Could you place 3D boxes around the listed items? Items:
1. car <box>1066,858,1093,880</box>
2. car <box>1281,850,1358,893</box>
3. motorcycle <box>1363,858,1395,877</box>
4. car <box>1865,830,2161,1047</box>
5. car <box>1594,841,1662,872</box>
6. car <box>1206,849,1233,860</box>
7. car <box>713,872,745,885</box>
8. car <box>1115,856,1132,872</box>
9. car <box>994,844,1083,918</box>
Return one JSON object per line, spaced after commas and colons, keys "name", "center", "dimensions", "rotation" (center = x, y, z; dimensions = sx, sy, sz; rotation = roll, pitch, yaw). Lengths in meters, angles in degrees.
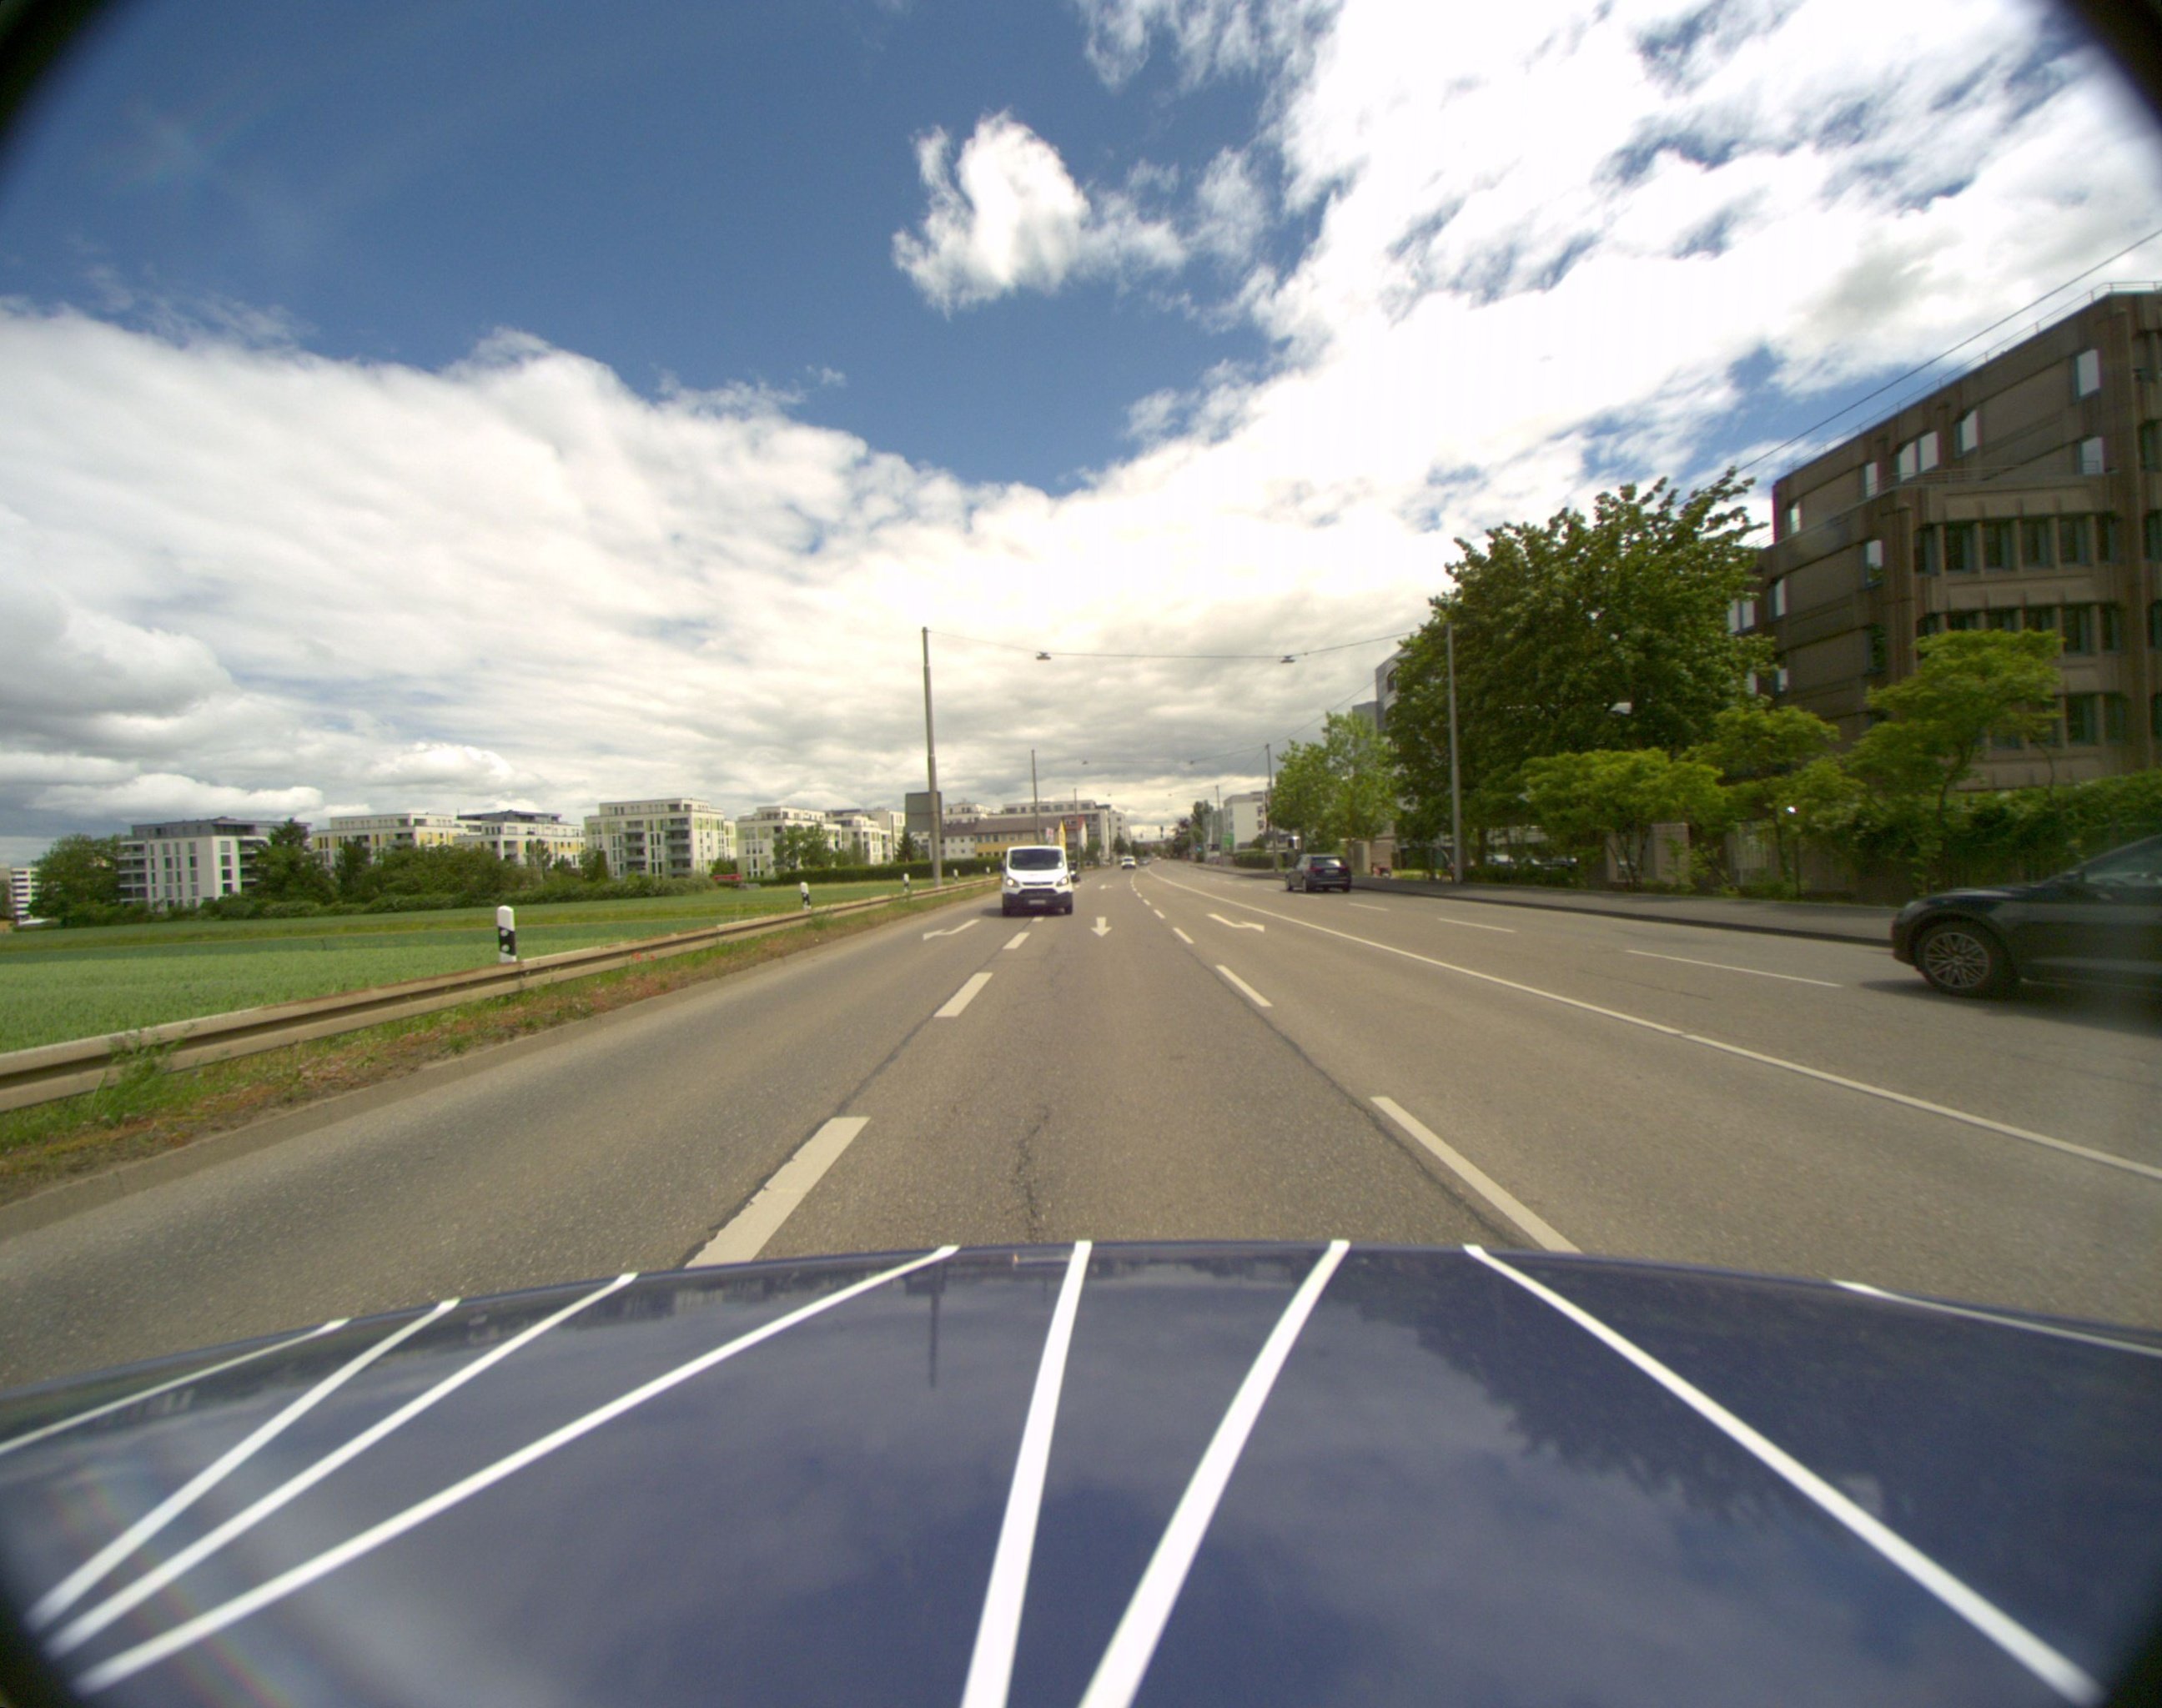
{"name": "car", "center": [-0.073, 1.110, 56.625], "dimensions": [1.879, 1.478, 3.775], "rotation": [-3, 0, 1]}
{"name": "car", "center": [9.680, 0.662, 31.192], "dimensions": [1.801, 1.576, 4.313], "rotation": [-1, 0, 0]}
{"name": "motorcycle", "center": [20.789, 0.944, 52.972], "dimensions": [1.905, 1.237, 0.746], "rotation": [-2, 1, 0]}
{"name": "car", "center": [9.158, 0.636, 5.709], "dimensions": [1.872, 1.605, 4.571], "rotation": [-2, 1, 2]}
{"name": "car", "center": [38.083, 0.135, 53.060], "dimensions": [1.932, 2.015, 4.000], "rotation": [-2, 1, 2]}
{"name": "car", "center": [21.544, 0.128, 118.339], "dimensions": [3.801, 1.601, 1.836], "rotation": [-2, 0, 1]}
{"name": "car", "center": [-61.404, 4.229, 132.534], "dimensions": [4.437, 2.002, 2.000], "rotation": [-2, 1, 1]}
{"name": "car", "center": [5.704, 1.344, 101.610], "dimensions": [1.998, 2.002, 3.999], "rotation": [-2, 1, 0]}
{"name": "car", "center": [-1.125, 0.752, 23.320], "dimensions": [1.998, 1.906, 5.884], "rotation": [-2, 0, 3]}
